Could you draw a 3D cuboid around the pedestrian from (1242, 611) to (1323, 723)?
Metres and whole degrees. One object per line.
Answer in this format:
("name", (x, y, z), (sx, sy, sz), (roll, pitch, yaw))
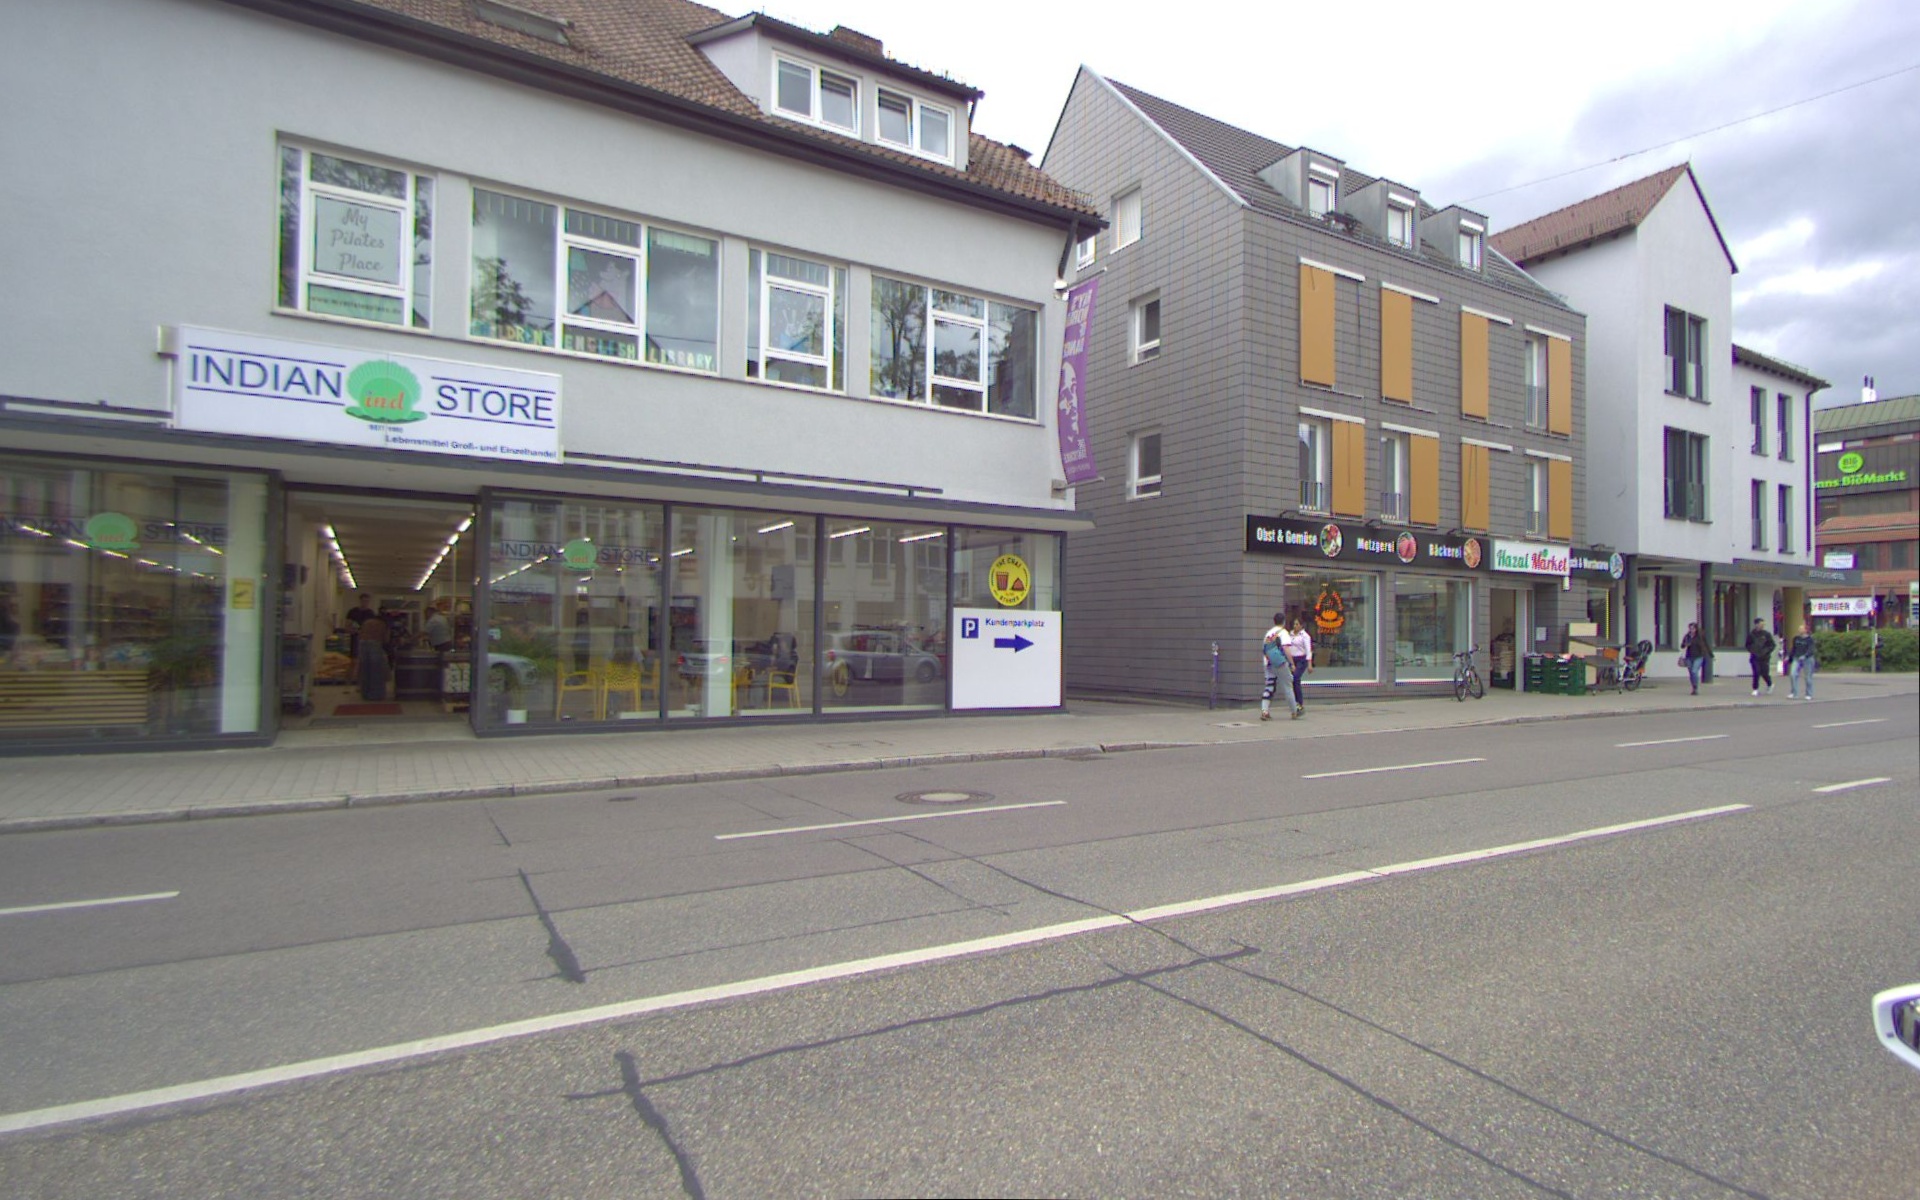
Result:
("pedestrian", (5.256, 1.068, 16.401), (0.969, 1.728, 0.750), (1, 2, -30))

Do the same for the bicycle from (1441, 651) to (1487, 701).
("bicycle", (10.413, 1.556, 20.723), (1.472, 0.966, 0.323), (2, -2, -41))

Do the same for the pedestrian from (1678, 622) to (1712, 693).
("pedestrian", (17.551, 1.367, 23.992), (0.643, 1.672, 0.557), (0, -1, 36))

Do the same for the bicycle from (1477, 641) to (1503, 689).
("bicycle", (13.060, 1.591, 24.757), (0.380, 1.142, 1.290), (0, -2, 20))

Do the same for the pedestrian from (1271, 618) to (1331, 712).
("pedestrian", (6.118, 1.148, 18.020), (0.744, 1.631, 0.725), (1, -1, -30))

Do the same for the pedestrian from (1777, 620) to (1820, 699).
("pedestrian", (19.572, 1.370, 23.450), (0.643, 1.814, 0.676), (1, -1, -40))

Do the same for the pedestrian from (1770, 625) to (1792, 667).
("pedestrian", (33.244, 1.851, 40.683), (0.654, 1.671, 0.790), (0, -1, 39))

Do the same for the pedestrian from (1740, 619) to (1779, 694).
("pedestrian", (19.428, 1.359, 24.411), (0.640, 1.799, 0.565), (1, -1, -34))

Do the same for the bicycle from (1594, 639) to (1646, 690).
("bicycle", (16.084, 1.563, 24.463), (1.806, 1.201, 0.384), (1, -2, -34))
